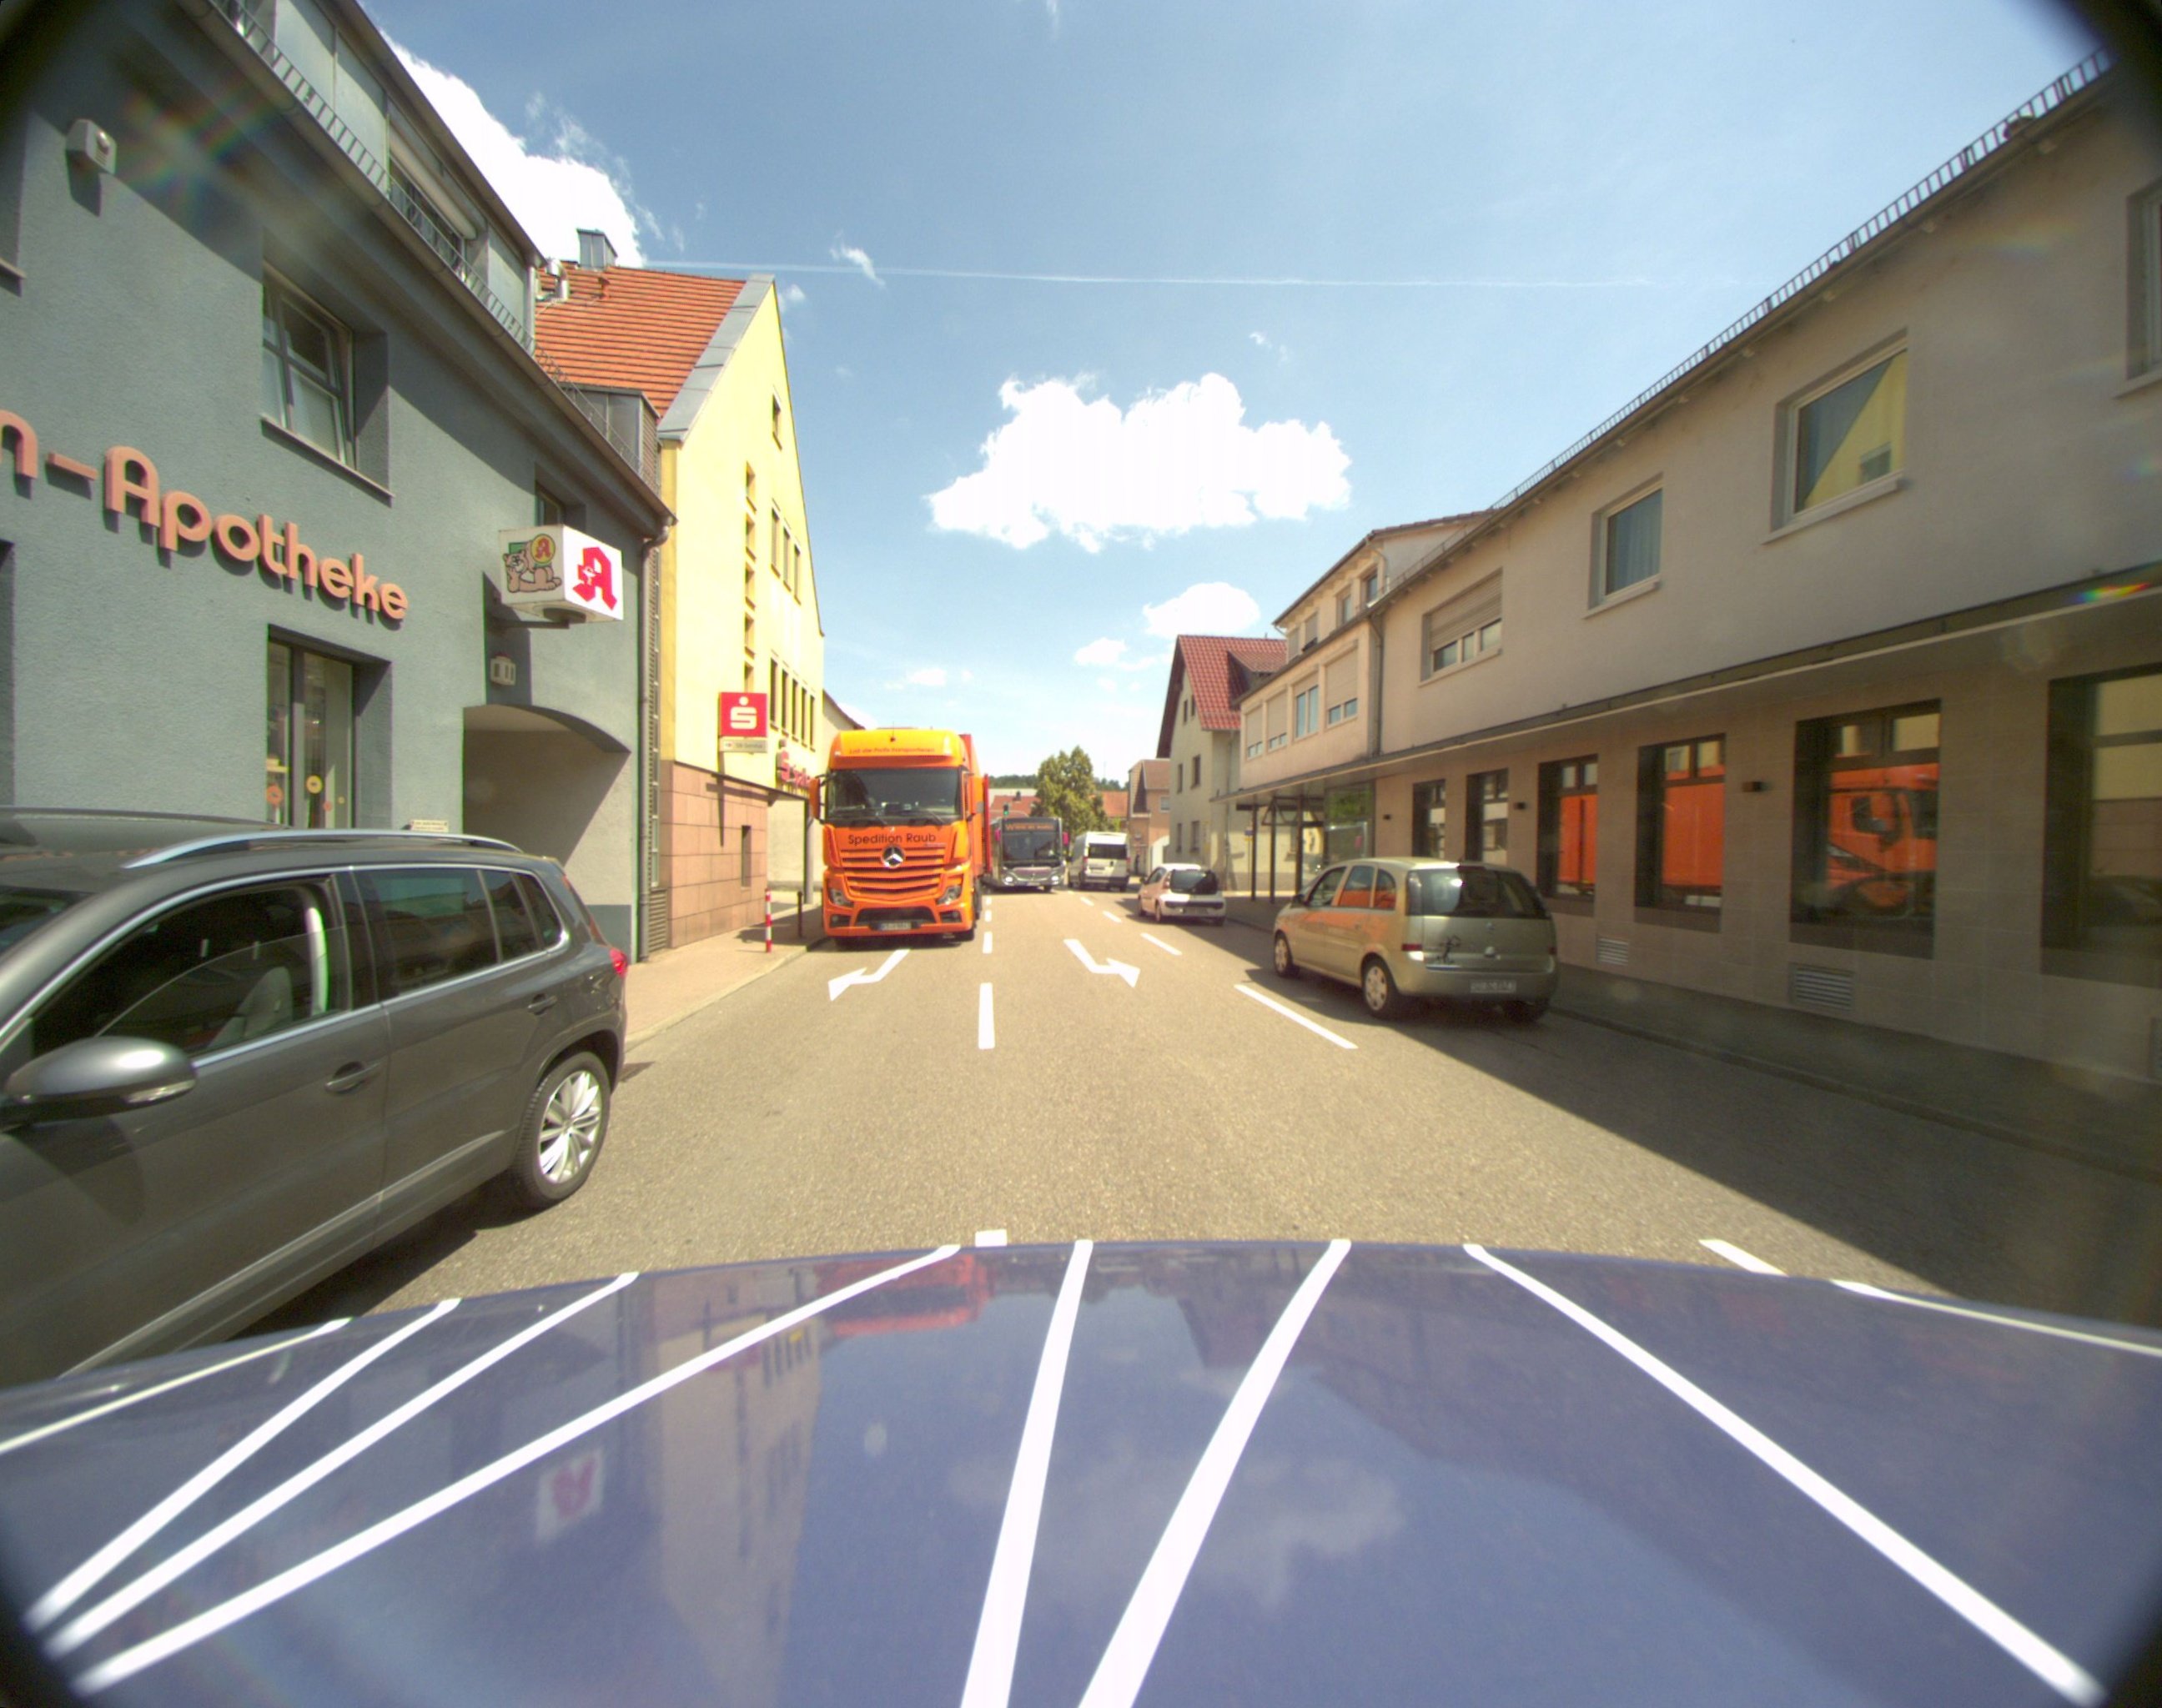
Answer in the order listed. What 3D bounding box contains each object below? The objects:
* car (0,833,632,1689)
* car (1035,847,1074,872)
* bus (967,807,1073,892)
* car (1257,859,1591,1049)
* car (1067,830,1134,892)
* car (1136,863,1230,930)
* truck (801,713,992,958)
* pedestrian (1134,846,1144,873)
[{"bbox_3d":[-3.193,0.814,1.797,1.999,1.699,4.099,2,0,-4],"label":"car"},{"bbox_3d":[-1.902,0.378,52.983,1.825,1.546,4.192,2,1,-14],"label":"car"},{"bbox_3d":[-3.657,-0.164,37.792,2.862,3.186,19.011,0,0,-12],"label":"bus"},{"bbox_3d":[3.530,0.926,8.691,1.684,1.607,3.819,4,-1,-6],"label":"car"},{"bbox_3d":[0.782,0.283,34.495,2.147,2.554,5.389,2,0,-8],"label":"car"},{"bbox_3d":[2.516,1.021,19.430,1.601,1.447,3.445,2,0,-5],"label":"car"},{"bbox_3d":[-3.587,-0.278,17.416,2.616,3.922,9.988,-2,0,-5],"label":"truck"},{"bbox_3d":[3.803,0.383,49.646,0.472,1.754,0.477,0,2,-28],"label":"pedestrian"}]
